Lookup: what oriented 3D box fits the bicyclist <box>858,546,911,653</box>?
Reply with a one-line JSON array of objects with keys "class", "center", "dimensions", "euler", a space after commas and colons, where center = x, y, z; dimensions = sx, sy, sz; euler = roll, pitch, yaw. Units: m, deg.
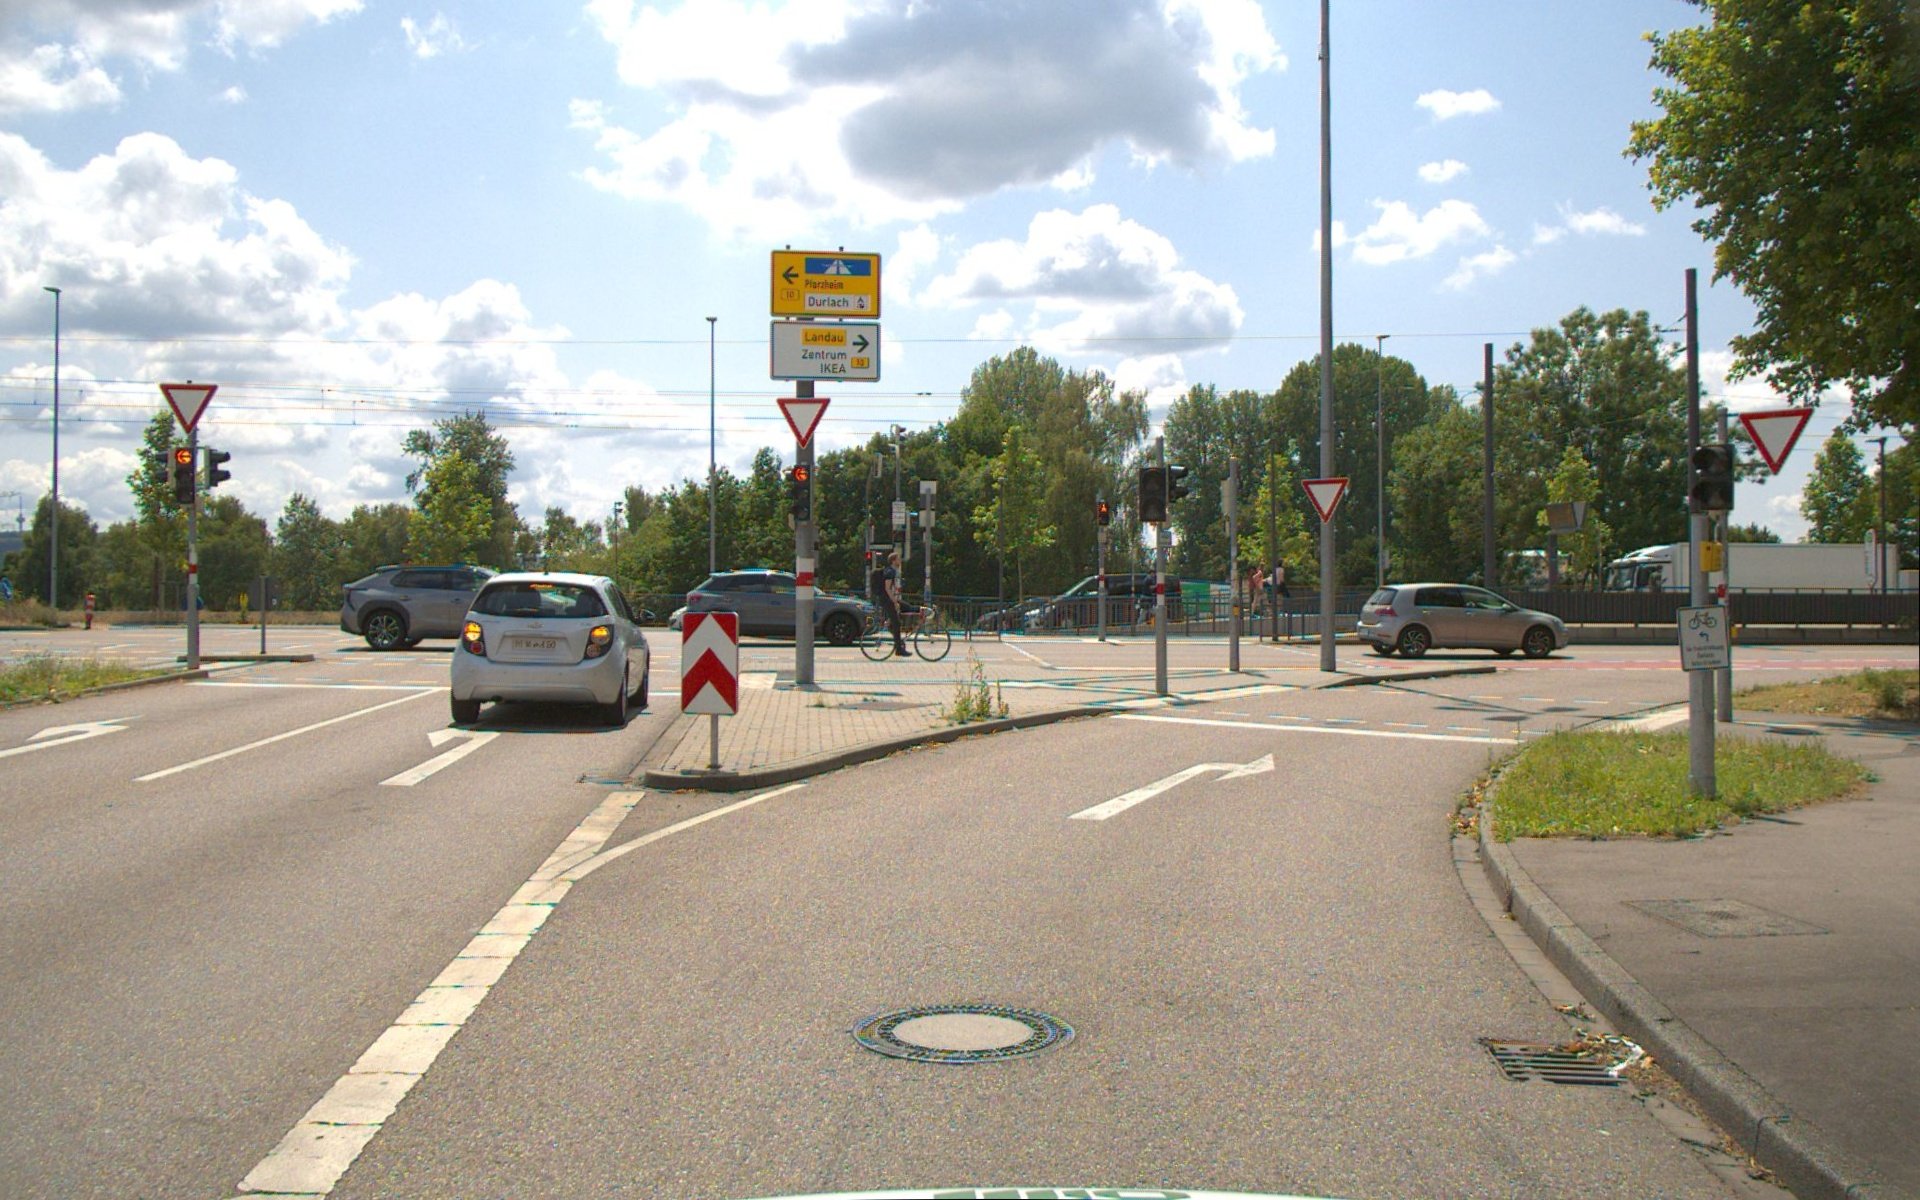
[{"class": "bicyclist", "center": [-1.354, -0.013, 29.586], "dimensions": [0.903, 1.878, 0.610], "euler": [0, 1, -6]}]

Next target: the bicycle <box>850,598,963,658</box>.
[{"class": "bicycle", "center": [-0.968, 0.504, 29.648], "dimensions": [1.978, 1.016, 0.621], "euler": [1, 1, -6]}]

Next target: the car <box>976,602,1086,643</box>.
[{"class": "car", "center": [2.647, 0.823, 61.576], "dimensions": [3.813, 1.433, 1.665], "euler": [0, 1, -13]}]

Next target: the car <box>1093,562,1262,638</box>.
[{"class": "car", "center": [5.518, -0.023, 42.276], "dimensions": [3.911, 1.814, 1.907], "euler": [-1, 1, -7]}]

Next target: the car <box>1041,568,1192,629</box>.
[{"class": "car", "center": [5.017, -0.066, 53.317], "dimensions": [4.561, 1.852, 1.998], "euler": [-1, 0, -6]}]

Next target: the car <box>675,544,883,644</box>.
[{"class": "car", "center": [-3.843, -0.129, 35.319], "dimensions": [4.265, 2.024, 1.998], "euler": [-1, 0, -6]}]

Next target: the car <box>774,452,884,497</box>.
[{"class": "car", "center": [-4.876, -4.644, 61.392], "dimensions": [3.952, 1.490, 1.930], "euler": [-1, 0, -8]}]

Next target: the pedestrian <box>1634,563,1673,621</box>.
[{"class": "pedestrian", "center": [22.199, -0.262, 52.933], "dimensions": [0.909, 1.839, 0.735], "euler": [0, 0, -6]}]

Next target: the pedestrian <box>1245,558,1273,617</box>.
[{"class": "pedestrian", "center": [9.064, -0.382, 50.217], "dimensions": [0.692, 1.751, 0.600], "euler": [-1, 0, -3]}]

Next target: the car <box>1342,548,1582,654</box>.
[{"class": "car", "center": [10.198, 0.007, 33.784], "dimensions": [4.265, 2.024, 1.998], "euler": [-1, 0, -6]}]

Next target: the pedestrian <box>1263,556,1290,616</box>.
[{"class": "pedestrian", "center": [9.429, -0.432, 49.295], "dimensions": [0.662, 1.778, 0.637], "euler": [0, 2, -3]}]

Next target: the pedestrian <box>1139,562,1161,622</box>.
[{"class": "pedestrian", "center": [5.611, -0.225, 48.933], "dimensions": [0.512, 1.751, 0.730], "euler": [-1, 0, -1]}]

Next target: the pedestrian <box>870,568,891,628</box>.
[{"class": "pedestrian", "center": [-2.379, -0.067, 49.396], "dimensions": [0.599, 1.800, 0.672], "euler": [0, 0, -4]}]

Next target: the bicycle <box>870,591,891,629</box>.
[{"class": "bicycle", "center": [-2.382, 0.299, 49.432], "dimensions": [0.607, 1.106, 1.721], "euler": [0, 1, -3]}]

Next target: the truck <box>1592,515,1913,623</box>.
[{"class": "truck", "center": [31.617, -1.250, 66.199], "dimensions": [11.722, 4.176, 2.950], "euler": [0, 0, -4]}]

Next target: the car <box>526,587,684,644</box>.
[{"class": "car", "center": [-12.047, 0.505, 56.375], "dimensions": [5.019, 1.839, 1.998], "euler": [-1, 0, -6]}]

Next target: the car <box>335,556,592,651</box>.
[{"class": "car", "center": [-9.462, 0.066, 31.823], "dimensions": [4.419, 1.704, 1.901], "euler": [1, 0, -7]}]

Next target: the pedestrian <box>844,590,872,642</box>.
[{"class": "pedestrian", "center": [-4.059, 0.619, 65.836], "dimensions": [0.964, 2.049, 0.899], "euler": [-1, 0, -14]}]

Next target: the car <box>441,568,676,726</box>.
[{"class": "car", "center": [-4.207, 0.440, 17.922], "dimensions": [1.857, 1.495, 3.830], "euler": [1, 0, -5]}]
